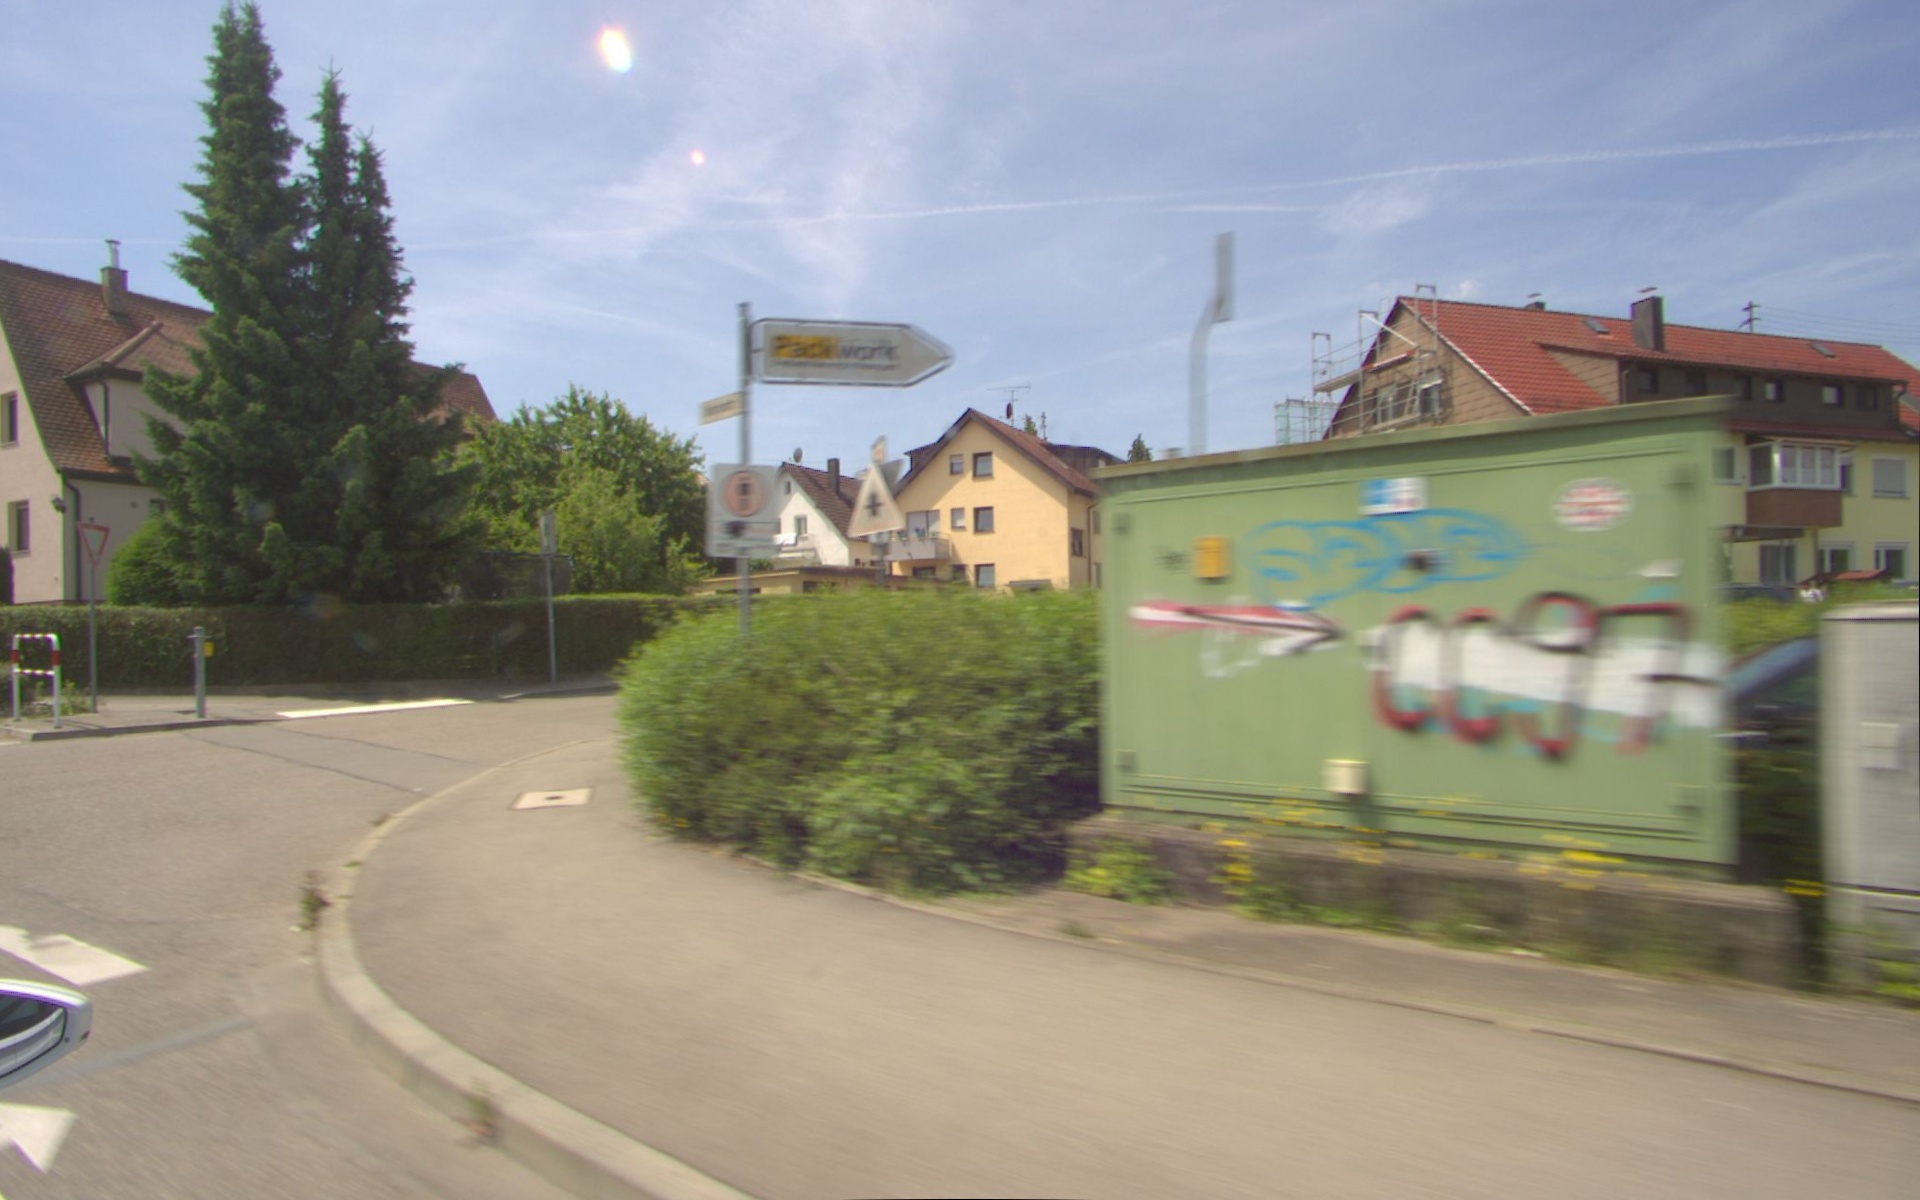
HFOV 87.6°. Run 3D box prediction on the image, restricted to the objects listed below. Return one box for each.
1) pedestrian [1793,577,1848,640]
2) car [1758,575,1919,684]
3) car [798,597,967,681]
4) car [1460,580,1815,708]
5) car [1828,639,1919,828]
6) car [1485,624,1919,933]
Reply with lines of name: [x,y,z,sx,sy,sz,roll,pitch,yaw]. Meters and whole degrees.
pedestrian: [22.612,0.226,26.320,0.785,1.627,0.779,-1,0,-14]
car: [13.848,0.405,14.516,1.391,1.504,3.428,-1,0,-15]
car: [-1.518,0.777,21.107,1.746,1.575,3.897,-3,-1,27]
car: [8.715,0.524,13.408,1.374,1.417,4.283,-1,-1,-9]
car: [9.550,0.981,7.710,4.008,1.485,1.625,-2,-3,9]
car: [5.458,0.950,5.827,3.997,1.570,1.713,-4,-4,21]
